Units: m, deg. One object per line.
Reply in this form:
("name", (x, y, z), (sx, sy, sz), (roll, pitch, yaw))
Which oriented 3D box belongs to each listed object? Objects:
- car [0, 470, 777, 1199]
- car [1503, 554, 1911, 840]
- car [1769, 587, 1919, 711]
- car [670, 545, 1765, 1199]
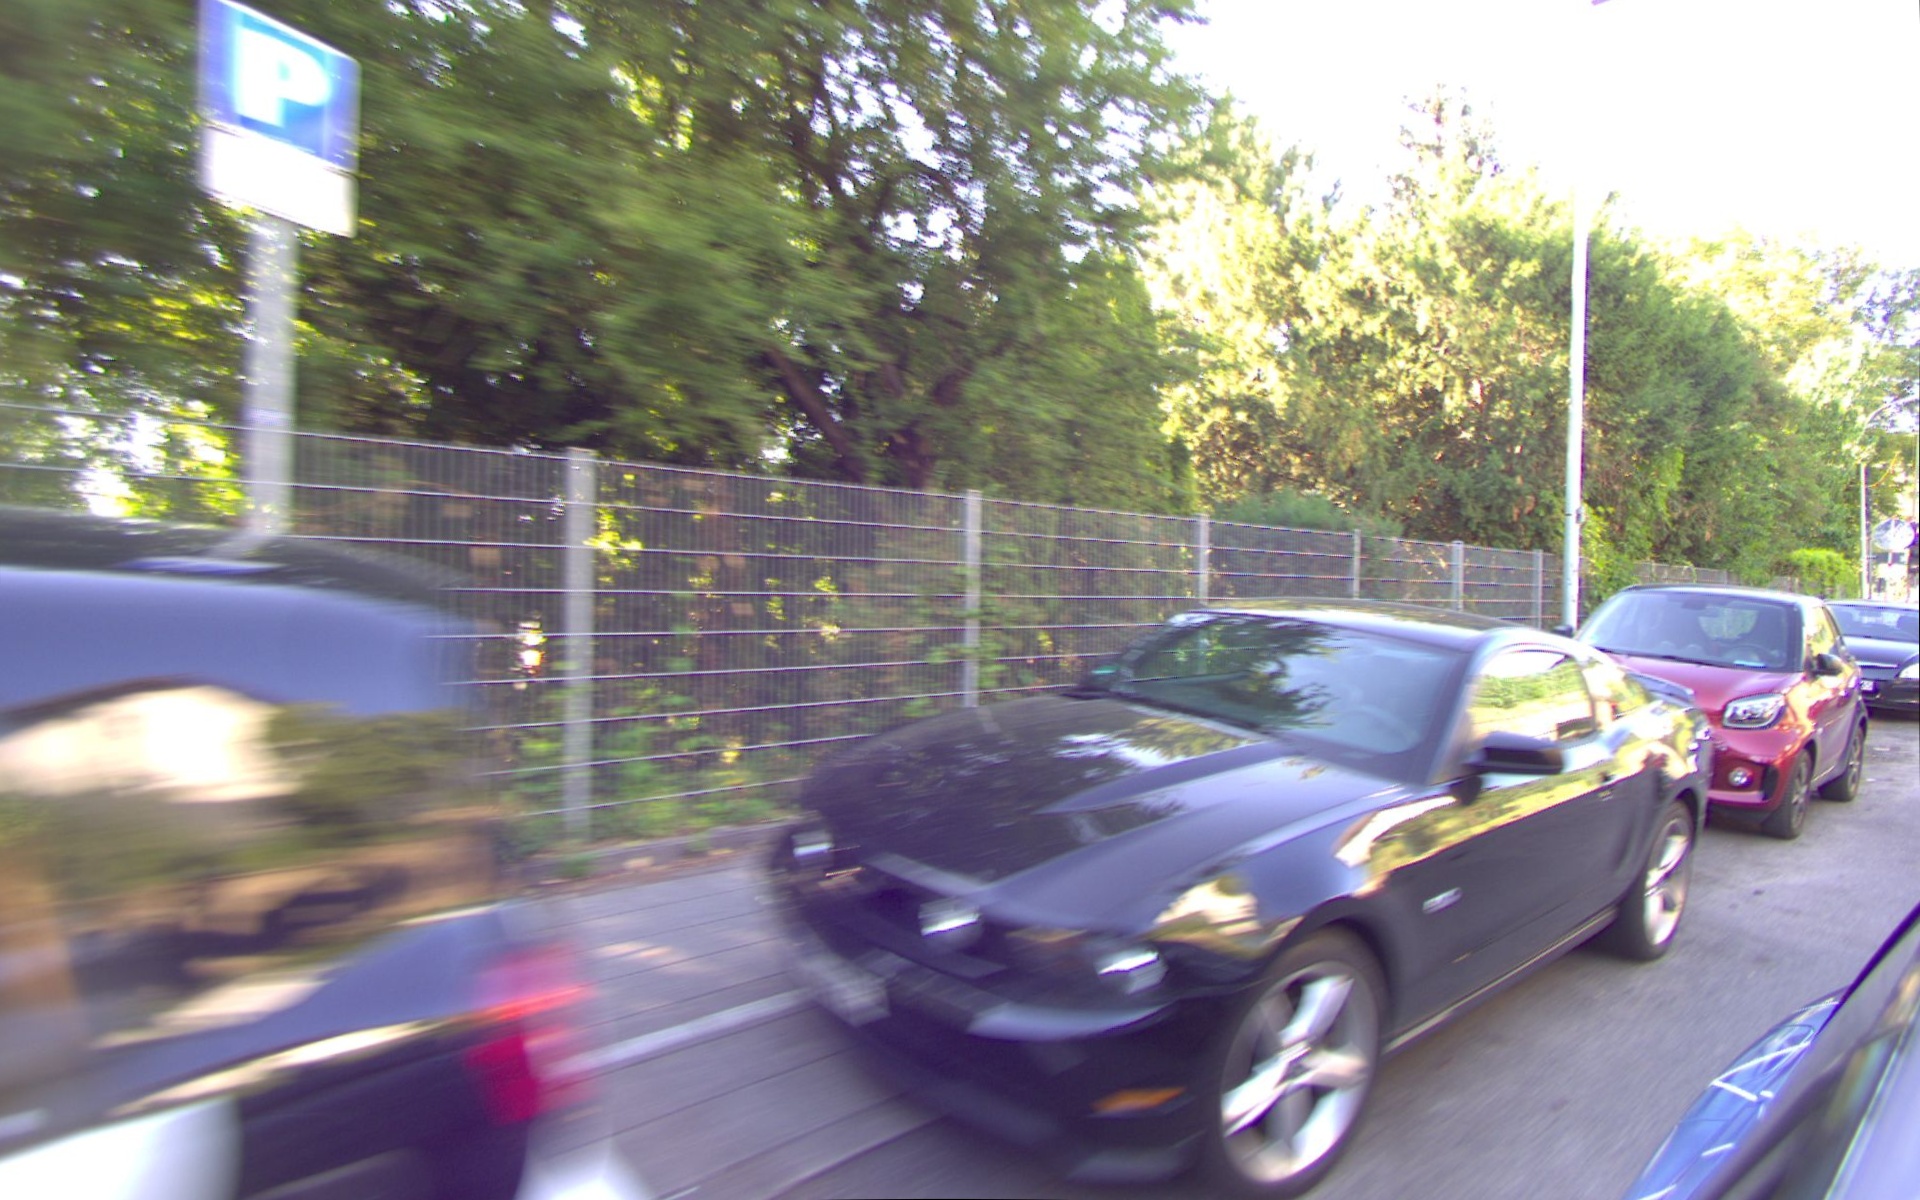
("car", (-1.850, 0.599, 0.926), (2.856, 1.528, 1.626), (1, 3, -45))
("car", (5.565, 0.539, 7.490), (2.821, 1.582, 1.658), (0, 6, -39))
("car", (12.686, 0.588, 13.909), (3.931, 1.458, 1.797), (0, 2, -42))
("car", (1.457, 0.658, 3.984), (4.727, 1.517, 1.714), (0, 0, -39))
